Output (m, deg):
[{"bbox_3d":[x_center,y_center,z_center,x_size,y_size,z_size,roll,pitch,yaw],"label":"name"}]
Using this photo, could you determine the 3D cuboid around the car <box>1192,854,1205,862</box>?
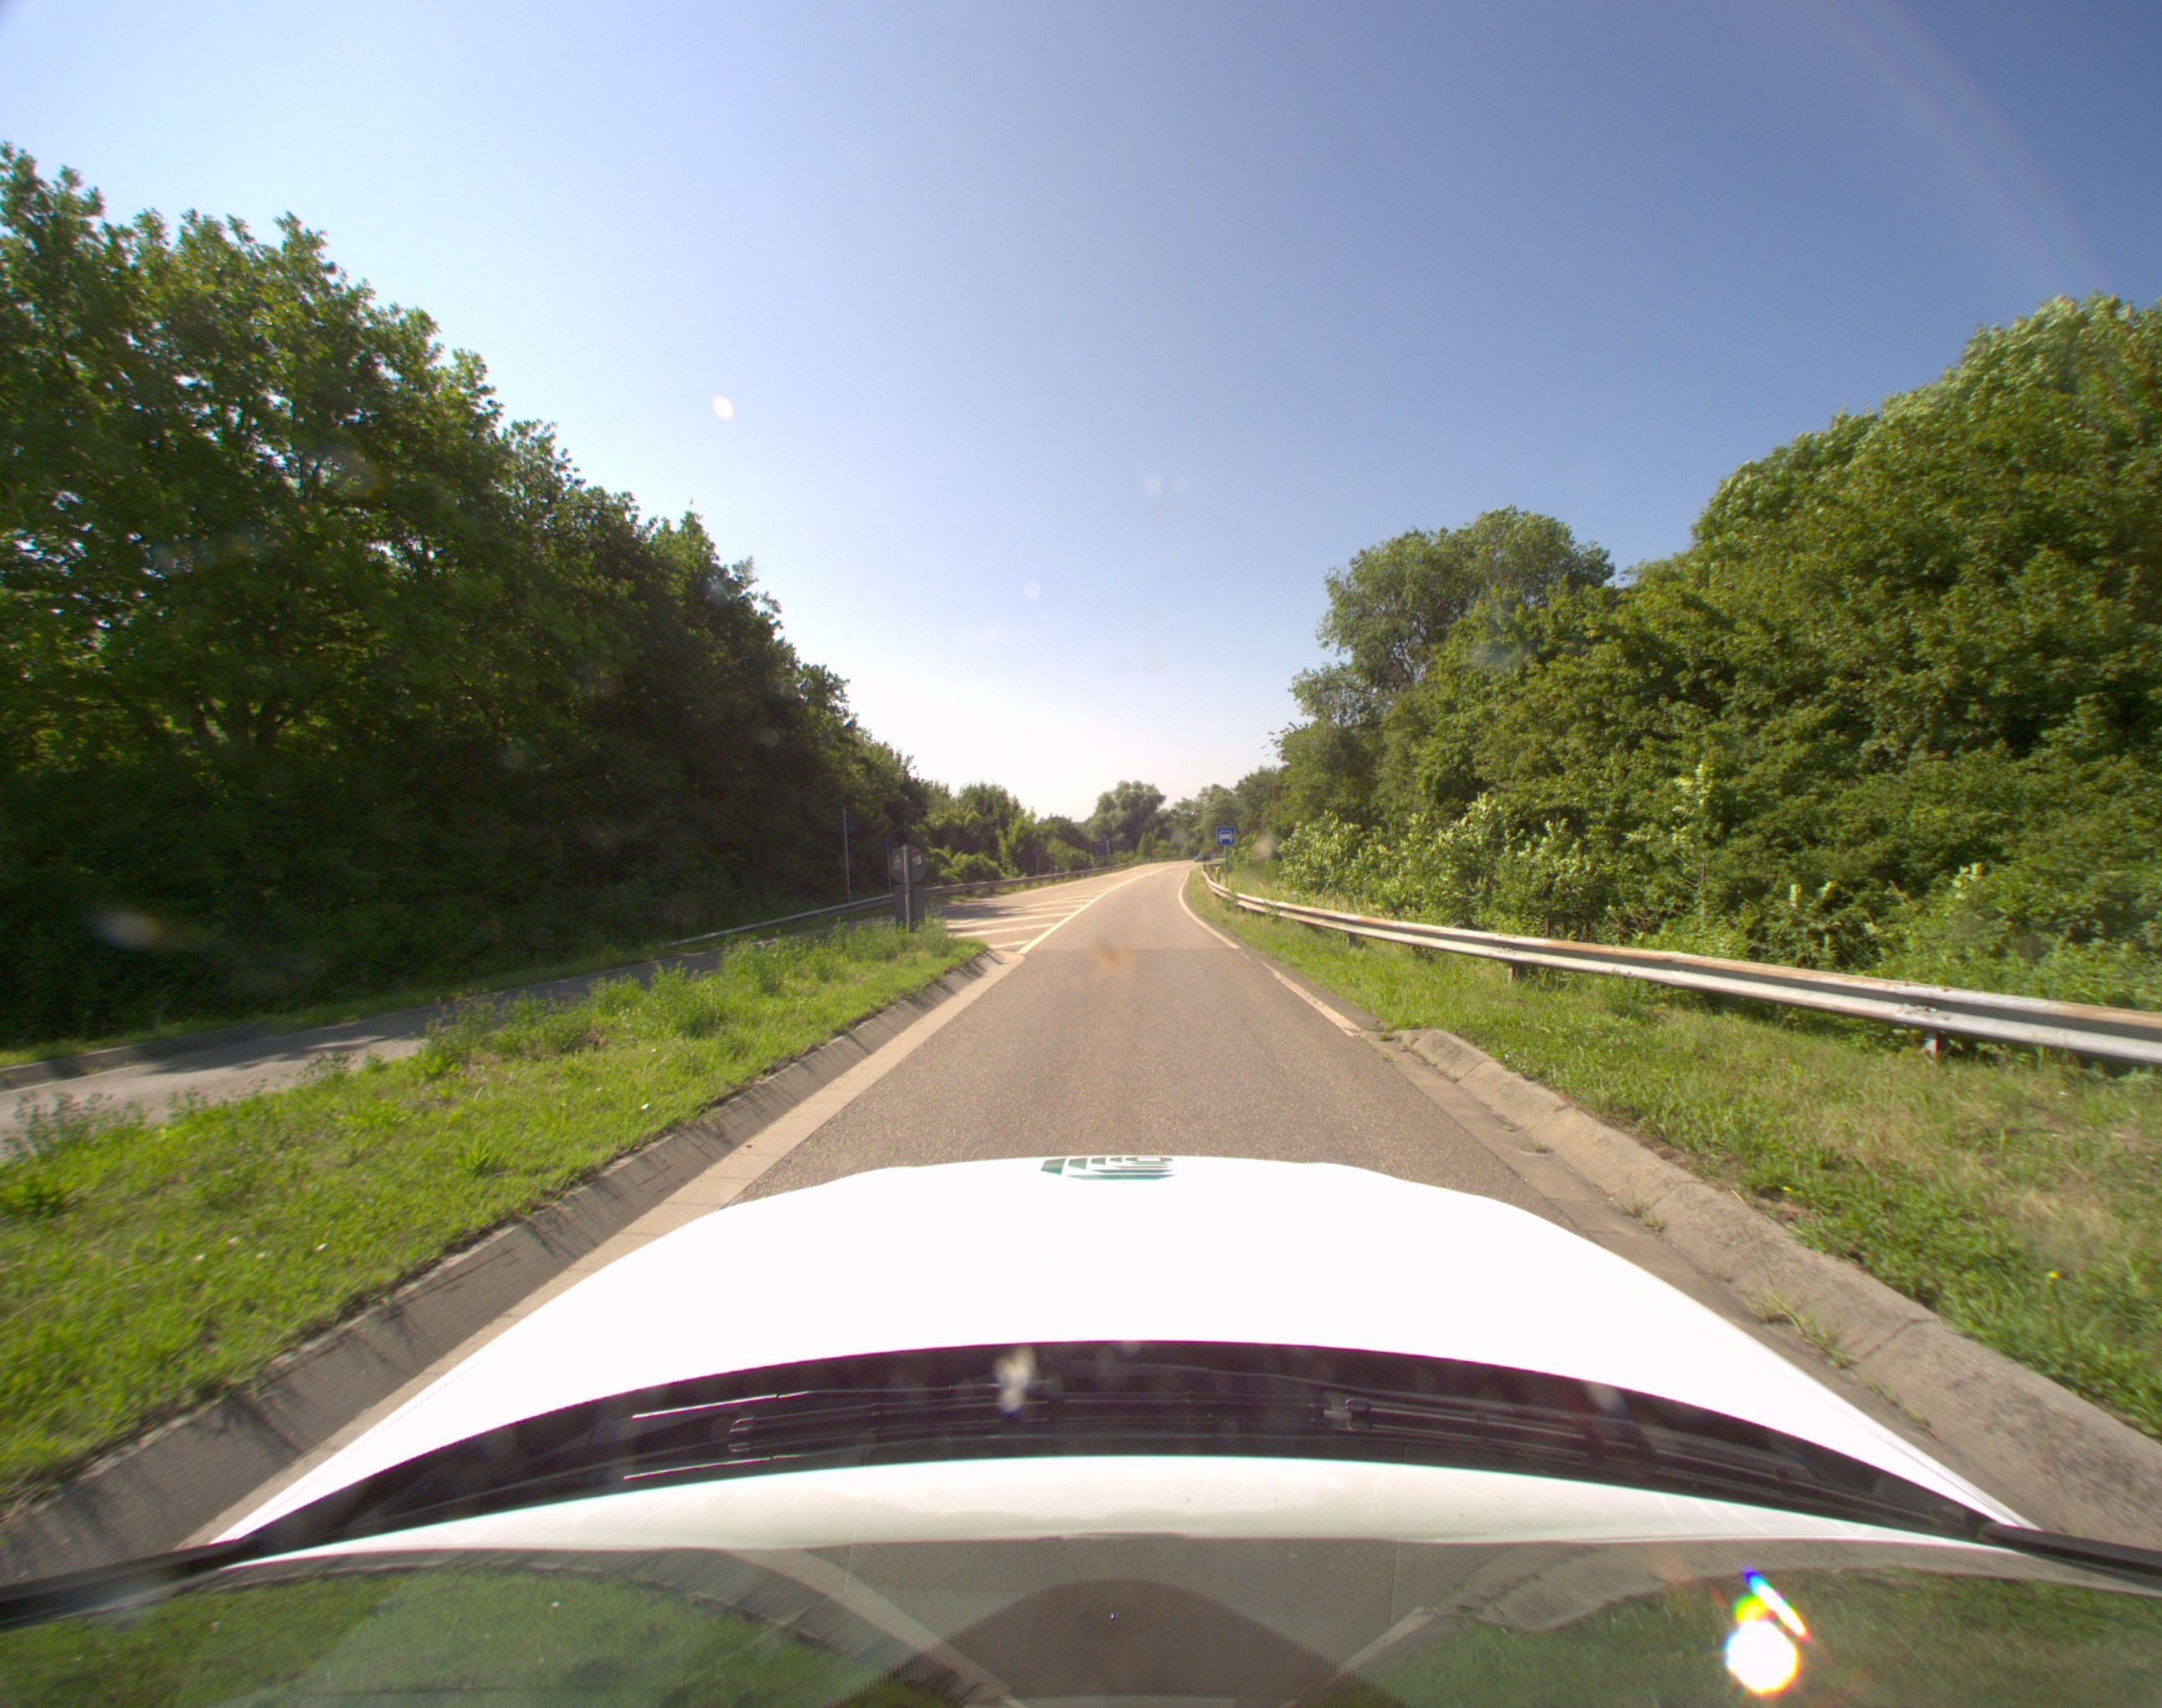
[{"bbox_3d":[21.898,0.817,151.647,1.594,1.473,4.241,-2,-1,20],"label":"car"}]
